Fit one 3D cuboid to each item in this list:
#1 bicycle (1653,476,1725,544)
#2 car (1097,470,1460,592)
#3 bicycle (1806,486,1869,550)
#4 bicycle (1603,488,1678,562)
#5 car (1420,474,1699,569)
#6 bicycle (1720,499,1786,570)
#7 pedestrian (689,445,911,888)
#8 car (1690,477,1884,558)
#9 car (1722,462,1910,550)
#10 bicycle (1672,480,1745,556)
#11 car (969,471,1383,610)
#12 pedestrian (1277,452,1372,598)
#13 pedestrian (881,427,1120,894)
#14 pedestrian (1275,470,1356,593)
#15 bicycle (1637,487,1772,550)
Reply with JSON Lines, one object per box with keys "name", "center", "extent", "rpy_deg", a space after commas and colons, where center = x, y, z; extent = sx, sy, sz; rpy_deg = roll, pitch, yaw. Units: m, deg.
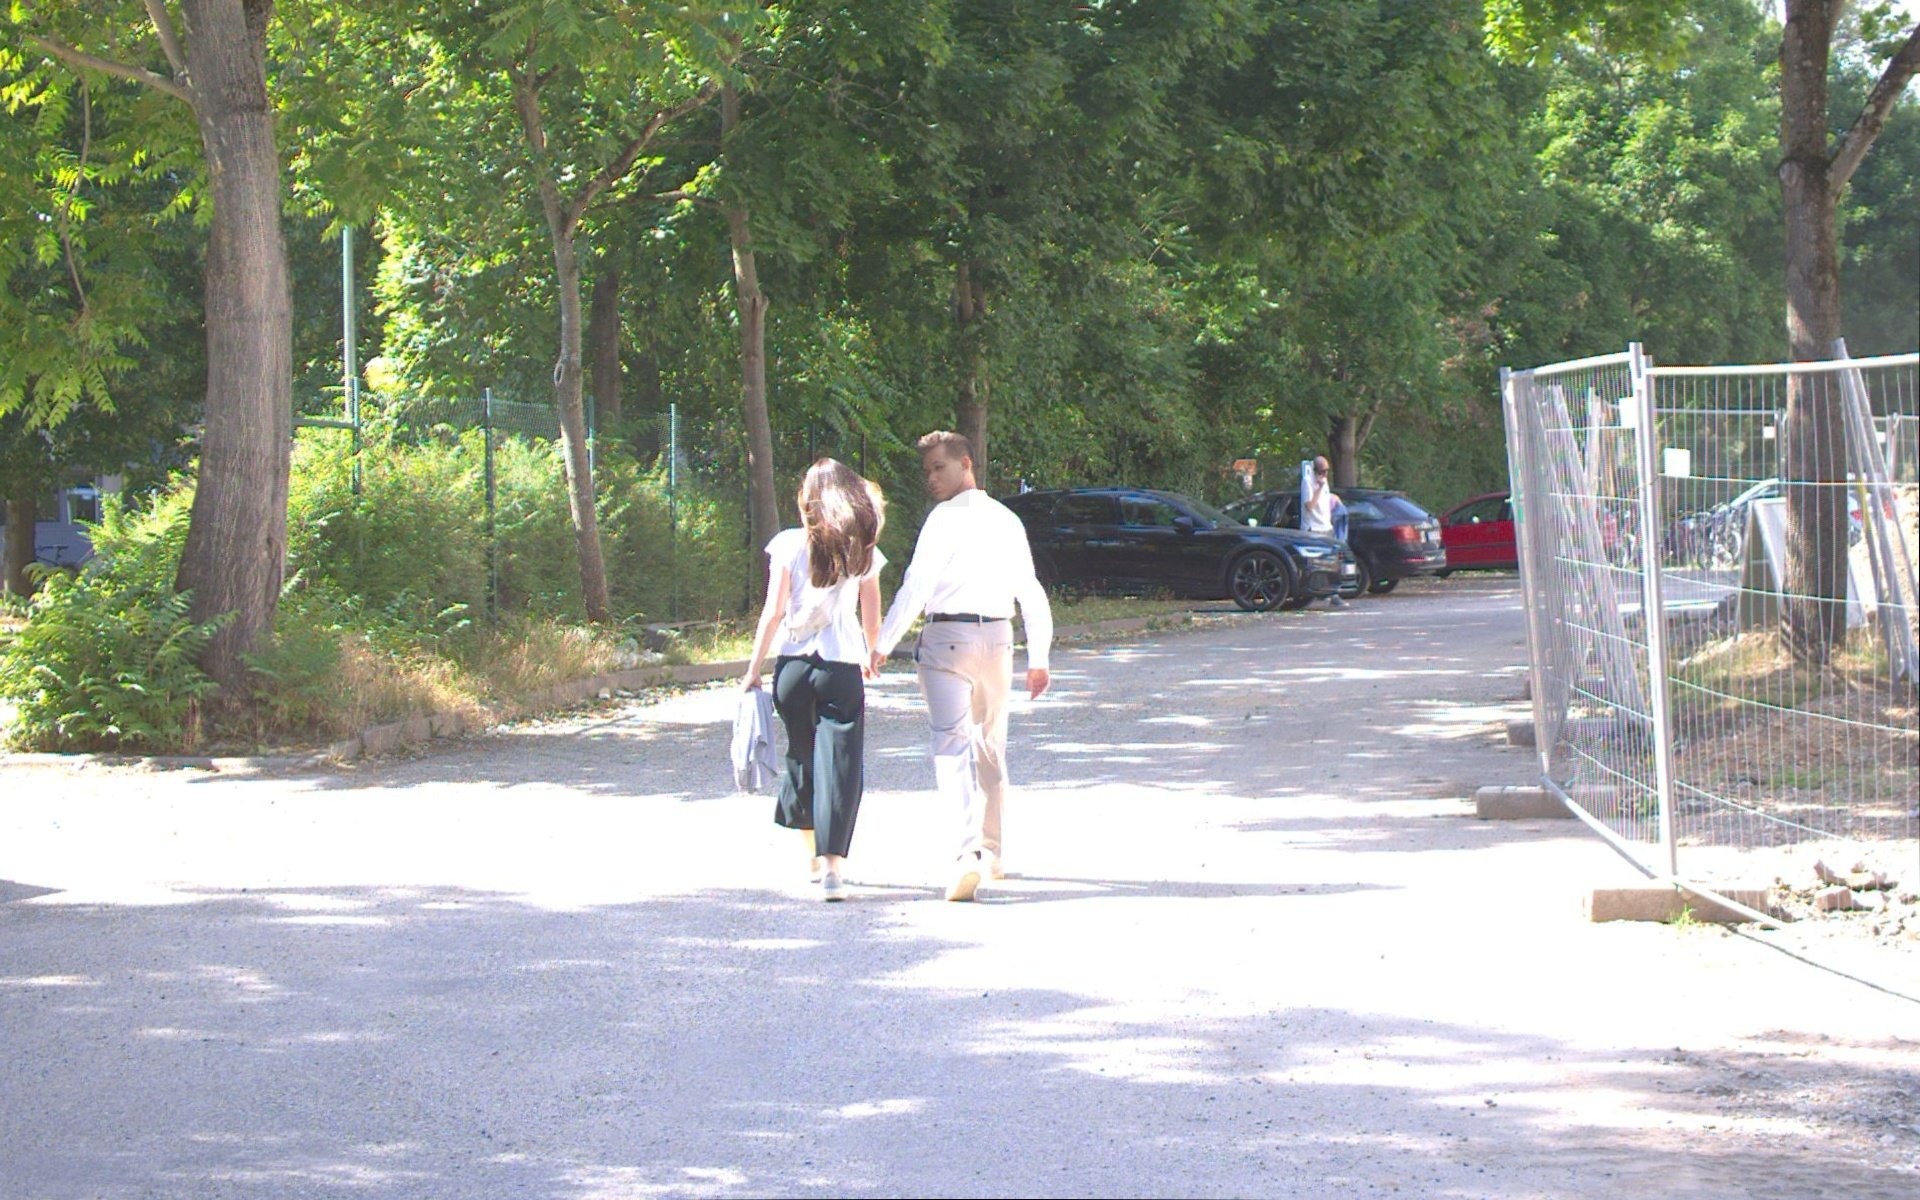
{"name": "bicycle", "center": [14.023, -1.739, 66.081], "extent": [0.817, 1.280, 2.681], "rpy_deg": [0, 2, 24]}
{"name": "car", "center": [4.386, -0.944, 47.107], "extent": [4.659, 1.579, 1.999], "rpy_deg": [0, 3, 16]}
{"name": "bicycle", "center": [18.241, -1.711, 71.403], "extent": [0.817, 1.280, 2.743], "rpy_deg": [0, 2, 24]}
{"name": "bicycle", "center": [12.220, -1.361, 61.694], "extent": [0.715, 1.280, 2.788], "rpy_deg": [0, 2, 24]}
{"name": "car", "center": [10.060, -1.314, 57.647], "extent": [4.291, 1.519, 1.890], "rpy_deg": [0, 2, 23]}
{"name": "bicycle", "center": [14.908, -1.242, 64.614], "extent": [0.715, 1.280, 2.634], "rpy_deg": [0, 2, 24]}
{"name": "pedestrian", "center": [-0.626, 0.231, 13.204], "extent": [0.735, 1.634, 0.781], "rpy_deg": [-1, 3, -10]}
{"name": "car", "center": [18.823, -1.878, 78.243], "extent": [3.993, 1.765, 1.765], "rpy_deg": [0, 3, 27]}
{"name": "car", "center": [20.145, -2.210, 80.923], "extent": [3.993, 2.006, 1.765], "rpy_deg": [0, 3, 27]}
{"name": "bicycle", "center": [13.119, -1.448, 60.196], "extent": [0.715, 1.280, 2.681], "rpy_deg": [0, 2, 24]}
{"name": "car", "center": [2.625, -0.721, 41.467], "extent": [4.659, 1.579, 1.999], "rpy_deg": [0, 3, 16]}
{"name": "pedestrian", "center": [4.497, -0.926, 42.383], "extent": [1.014, 1.775, 0.819], "rpy_deg": [0, 2, 18]}
{"name": "pedestrian", "center": [0.145, 0.204, 13.225], "extent": [0.755, 1.722, 0.854], "rpy_deg": [-1, 3, -10]}
{"name": "pedestrian", "center": [4.707, -0.913, 45.497], "extent": [0.925, 1.589, 0.785], "rpy_deg": [0, 3, 16]}
{"name": "bicycle", "center": [15.541, -1.704, 71.797], "extent": [2.677, 1.280, 0.818], "rpy_deg": [0, 2, 18]}
